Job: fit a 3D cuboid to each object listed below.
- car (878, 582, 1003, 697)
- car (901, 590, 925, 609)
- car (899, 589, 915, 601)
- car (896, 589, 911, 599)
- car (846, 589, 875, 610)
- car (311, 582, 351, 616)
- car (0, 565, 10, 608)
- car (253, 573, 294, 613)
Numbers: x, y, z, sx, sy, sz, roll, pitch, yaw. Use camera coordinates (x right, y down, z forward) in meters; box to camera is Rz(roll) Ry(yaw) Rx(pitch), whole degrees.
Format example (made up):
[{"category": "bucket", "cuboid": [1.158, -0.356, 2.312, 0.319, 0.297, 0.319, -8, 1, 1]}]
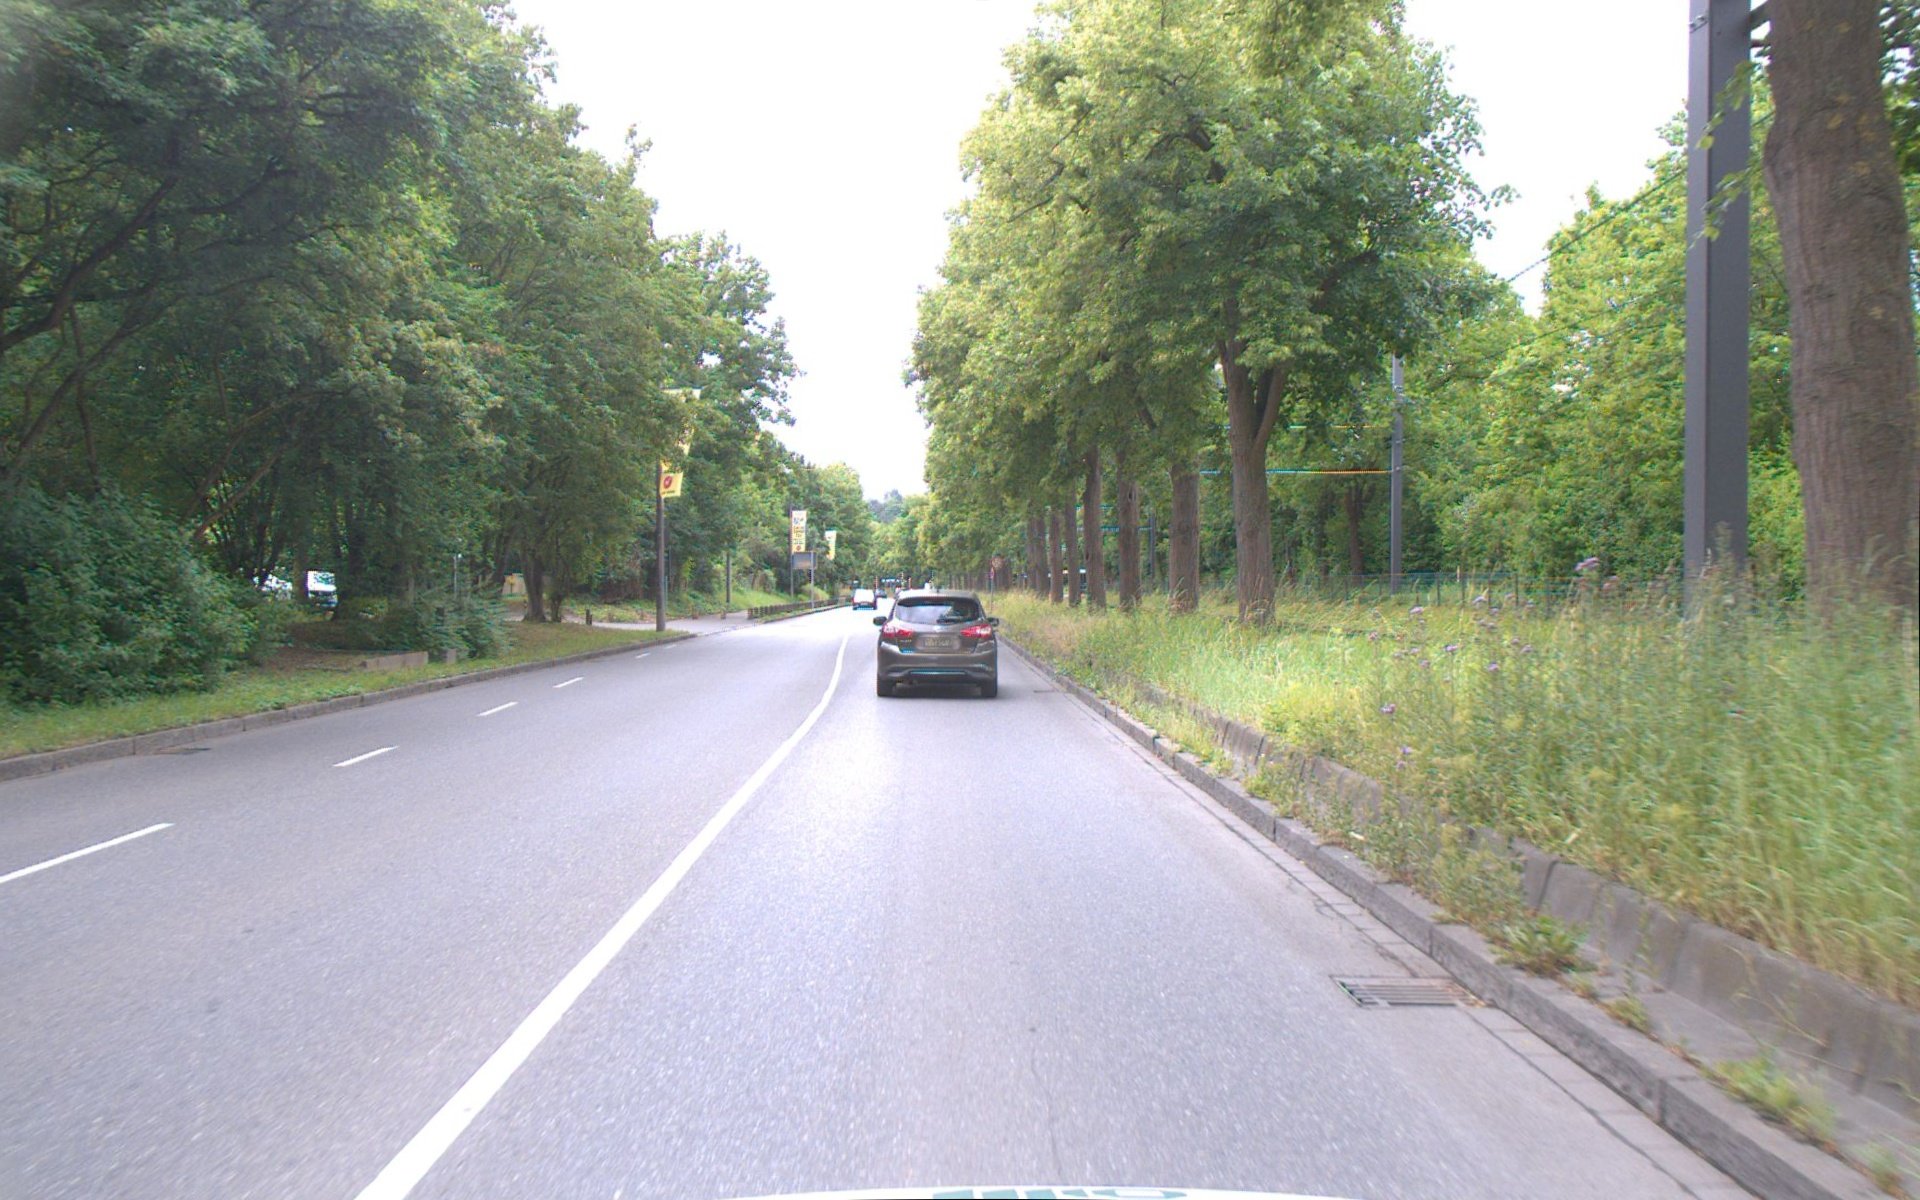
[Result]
[{"category": "car", "cuboid": [-0.320, 0.540, 24.640, 1.695, 1.564, 3.550, 1, 0, -2]}, {"category": "car", "cuboid": [-3.680, -0.043, 129.652, 1.528, 1.466, 3.553, 1, 0, 3]}, {"category": "car", "cuboid": [-6.720, -0.676, 209.541, 1.533, 1.466, 3.542, 1, 0, -11]}, {"category": "car", "cuboid": [-8.233, -0.844, 239.829, 1.535, 1.466, 3.539, 1, 0, -14]}, {"category": "car", "cuboid": [-7.272, -0.075, 121.488, 1.680, 1.453, 4.198, -2, 0, 3]}, {"category": "car", "cuboid": [-24.806, -0.059, 65.163, 1.352, 1.260, 3.050, 3, 0, -22]}, {"category": "car", "cuboid": [-35.335, -0.509, 59.476, 1.625, 1.512, 3.969, 1, 0, -25]}, {"category": "car", "cuboid": [-26.534, -0.277, 63.957, 1.352, 1.426, 3.050, 3, 0, -22]}]
